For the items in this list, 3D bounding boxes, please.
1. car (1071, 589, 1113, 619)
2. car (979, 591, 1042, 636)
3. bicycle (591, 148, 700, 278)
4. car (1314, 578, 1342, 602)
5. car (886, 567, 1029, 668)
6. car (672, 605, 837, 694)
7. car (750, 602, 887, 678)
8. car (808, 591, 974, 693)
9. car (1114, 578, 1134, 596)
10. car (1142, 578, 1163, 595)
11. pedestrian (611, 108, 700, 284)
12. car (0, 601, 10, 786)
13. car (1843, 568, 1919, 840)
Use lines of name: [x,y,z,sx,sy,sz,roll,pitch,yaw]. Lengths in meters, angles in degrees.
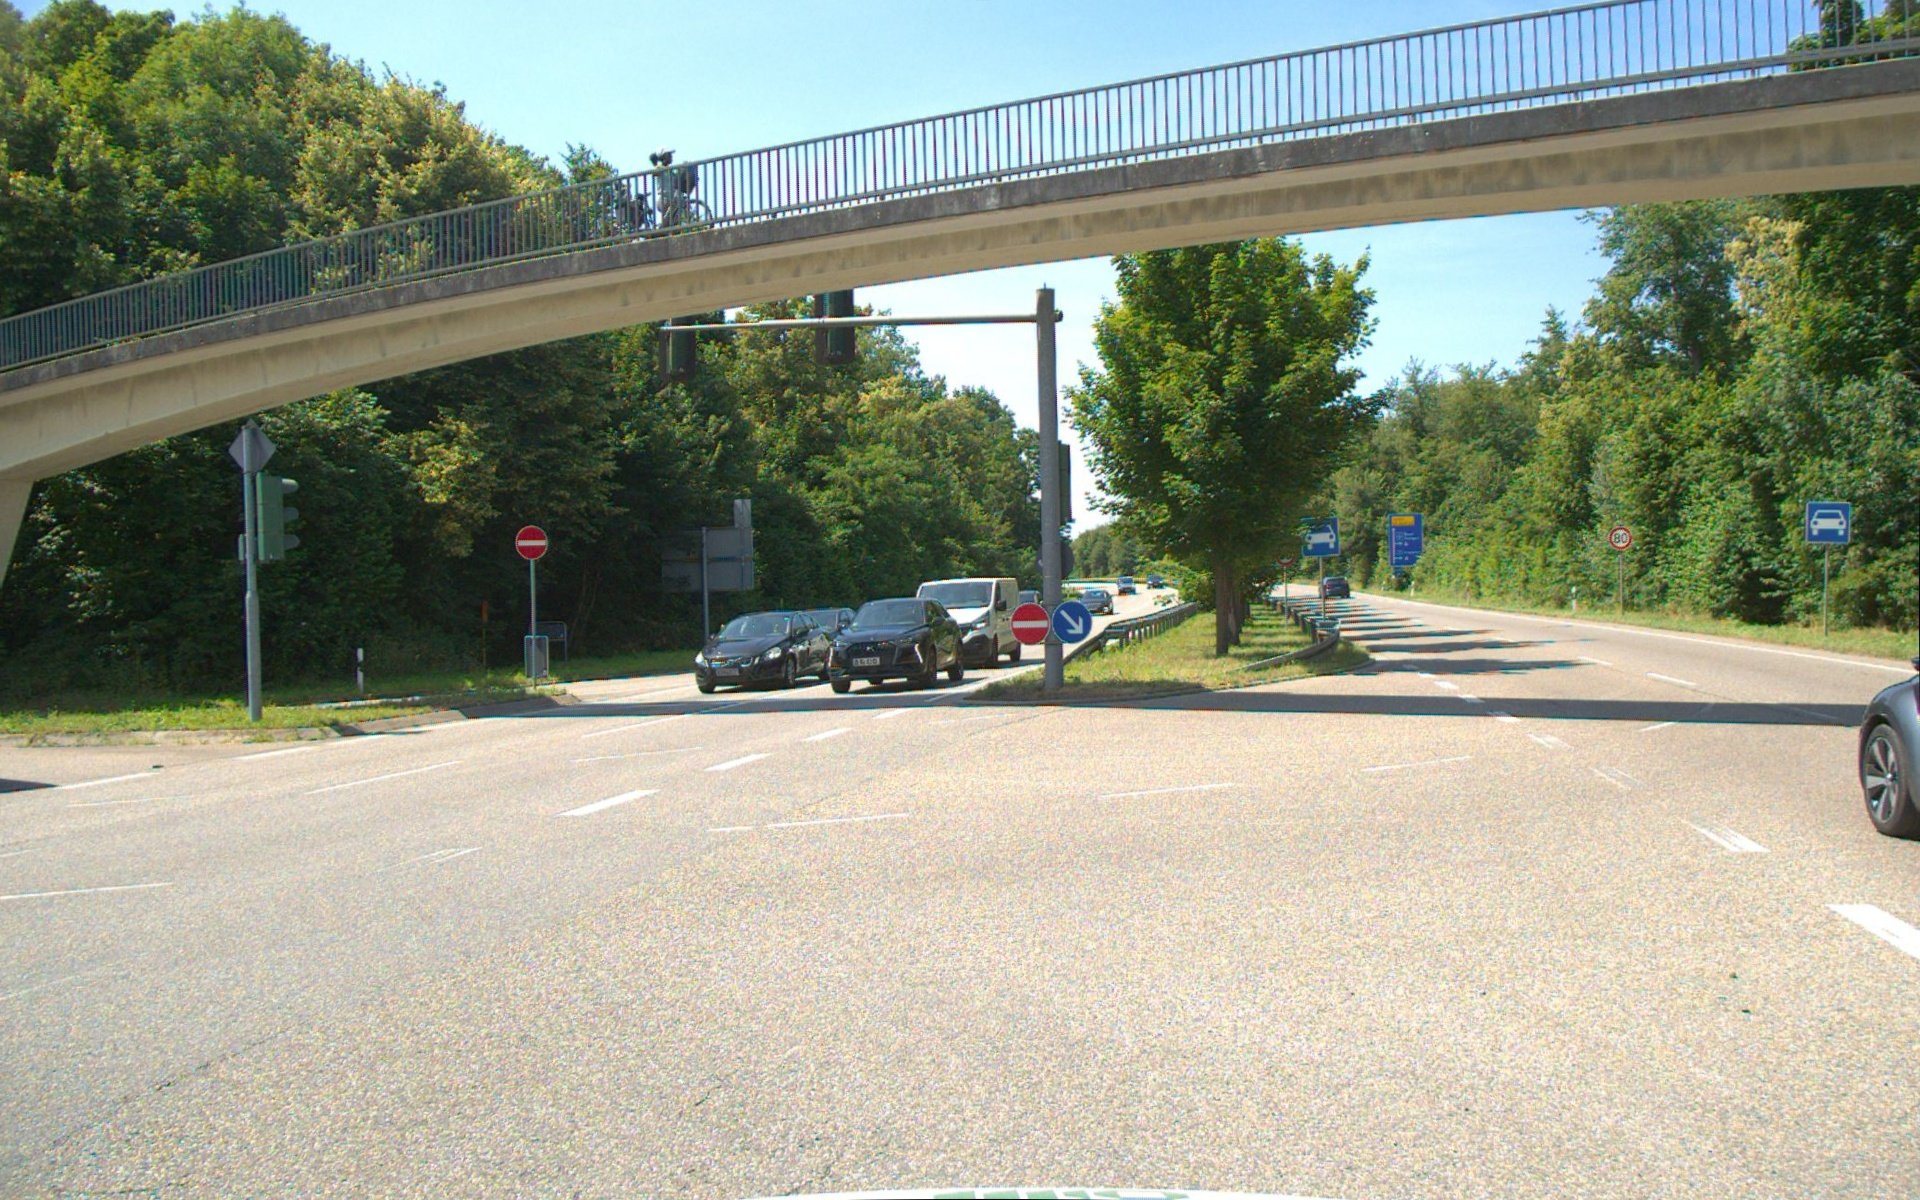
car: [7.836,0.233,98.014,1.965,1.629,4.059,-3,0,11]
car: [2.051,0.522,65.751,1.822,1.644,4.059,-3,0,11]
bicycle: [-4.429,-5.417,23.265,1.497,1.500,0.469,-3,-2,27]
car: [27.852,-0.768,125.081,1.998,1.728,5.091,-1,1,13]
car: [0.043,0.348,37.325,2.161,2.028,5.493,-3,0,11]
car: [-3.869,0.908,31.859,1.965,1.486,4.059,-3,0,11]
car: [-3.079,0.852,36.801,1.965,1.486,4.059,-3,0,11]
car: [-1.110,0.678,28.814,1.951,1.550,4.031,-3,0,11]
car: [17.659,-1.394,177.870,1.952,1.780,4.002,-4,-1,5]
car: [23.056,-1.590,198.362,1.953,2.049,3.999,0,0,-1]
pedestrian: [-4.316,-5.705,23.476,0.767,2.177,0.930,-3,-2,27]
car: [-11.694,0.987,17.140,3.903,1.857,1.847,-2,-1,37]
car: [6.100,0.588,8.280,1.859,1.503,3.943,0,1,11]
